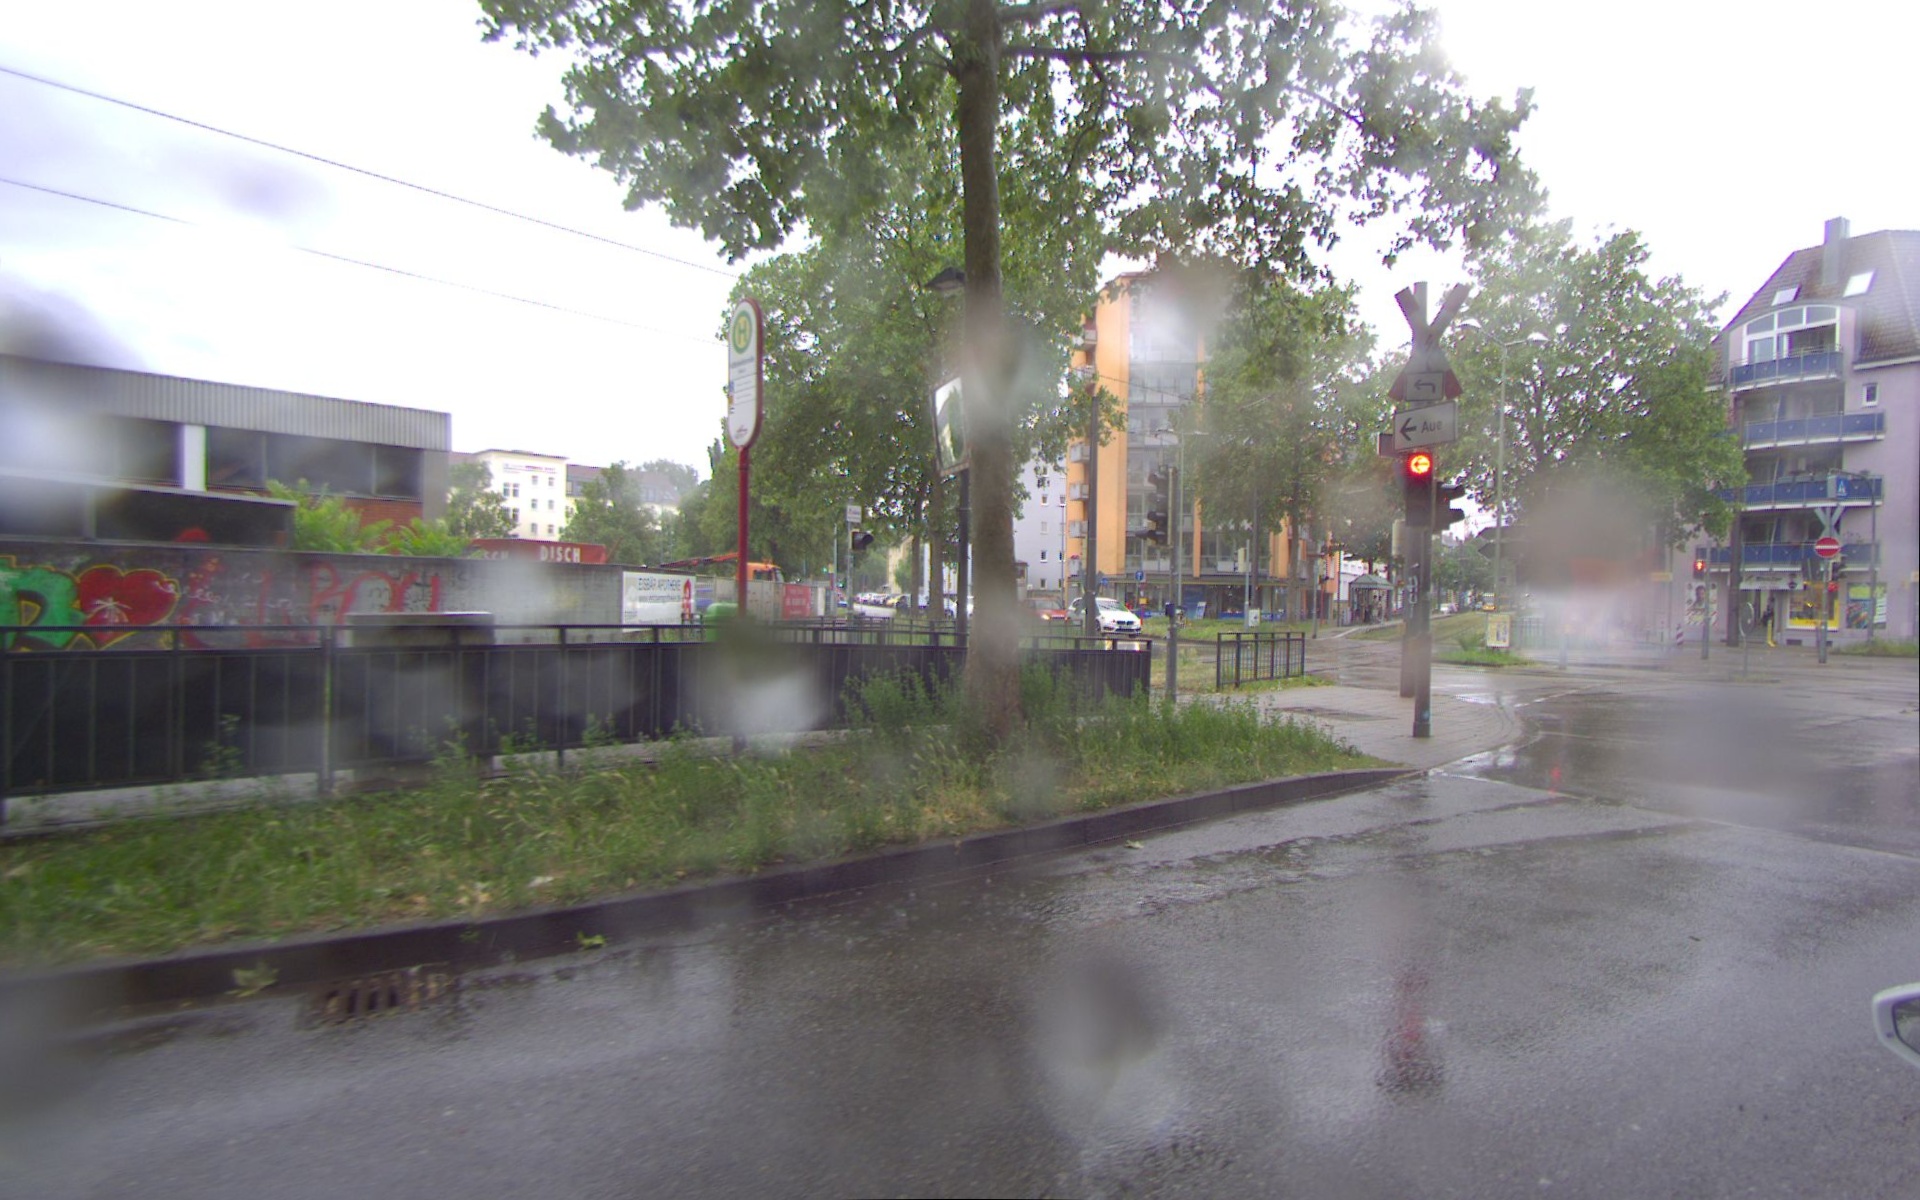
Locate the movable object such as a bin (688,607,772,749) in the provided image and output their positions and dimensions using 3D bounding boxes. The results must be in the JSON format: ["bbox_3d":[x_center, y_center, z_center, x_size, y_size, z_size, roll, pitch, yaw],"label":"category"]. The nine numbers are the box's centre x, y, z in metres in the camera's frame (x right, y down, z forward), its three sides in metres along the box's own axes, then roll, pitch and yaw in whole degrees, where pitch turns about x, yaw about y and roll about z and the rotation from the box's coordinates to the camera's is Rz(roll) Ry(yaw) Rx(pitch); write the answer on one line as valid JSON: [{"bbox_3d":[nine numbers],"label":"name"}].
[{"bbox_3d":[-1.866,0.609,8.148,0.412,1.104,0.528,-1,-1,44],"label":"movable object such as a bin"}]

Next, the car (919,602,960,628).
[{"bbox_3d":[-1.353,0.963,65.209,1.697,1.661,3.780,0,-1,-17],"label":"car"}]

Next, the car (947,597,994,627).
[{"bbox_3d":[0.578,0.713,59.047,1.697,1.661,3.780,0,-1,-17],"label":"car"}]

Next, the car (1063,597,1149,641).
[{"bbox_3d":[5.876,0.768,40.938,1.941,1.673,4.005,0,-1,-17],"label":"car"}]

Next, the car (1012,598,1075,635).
[{"bbox_3d":[3.882,0.769,47.227,1.697,1.661,3.780,0,-1,-17],"label":"car"}]

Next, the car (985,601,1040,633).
[{"bbox_3d":[2.734,0.893,52.948,1.697,1.661,3.780,0,-1,-17],"label":"car"}]
